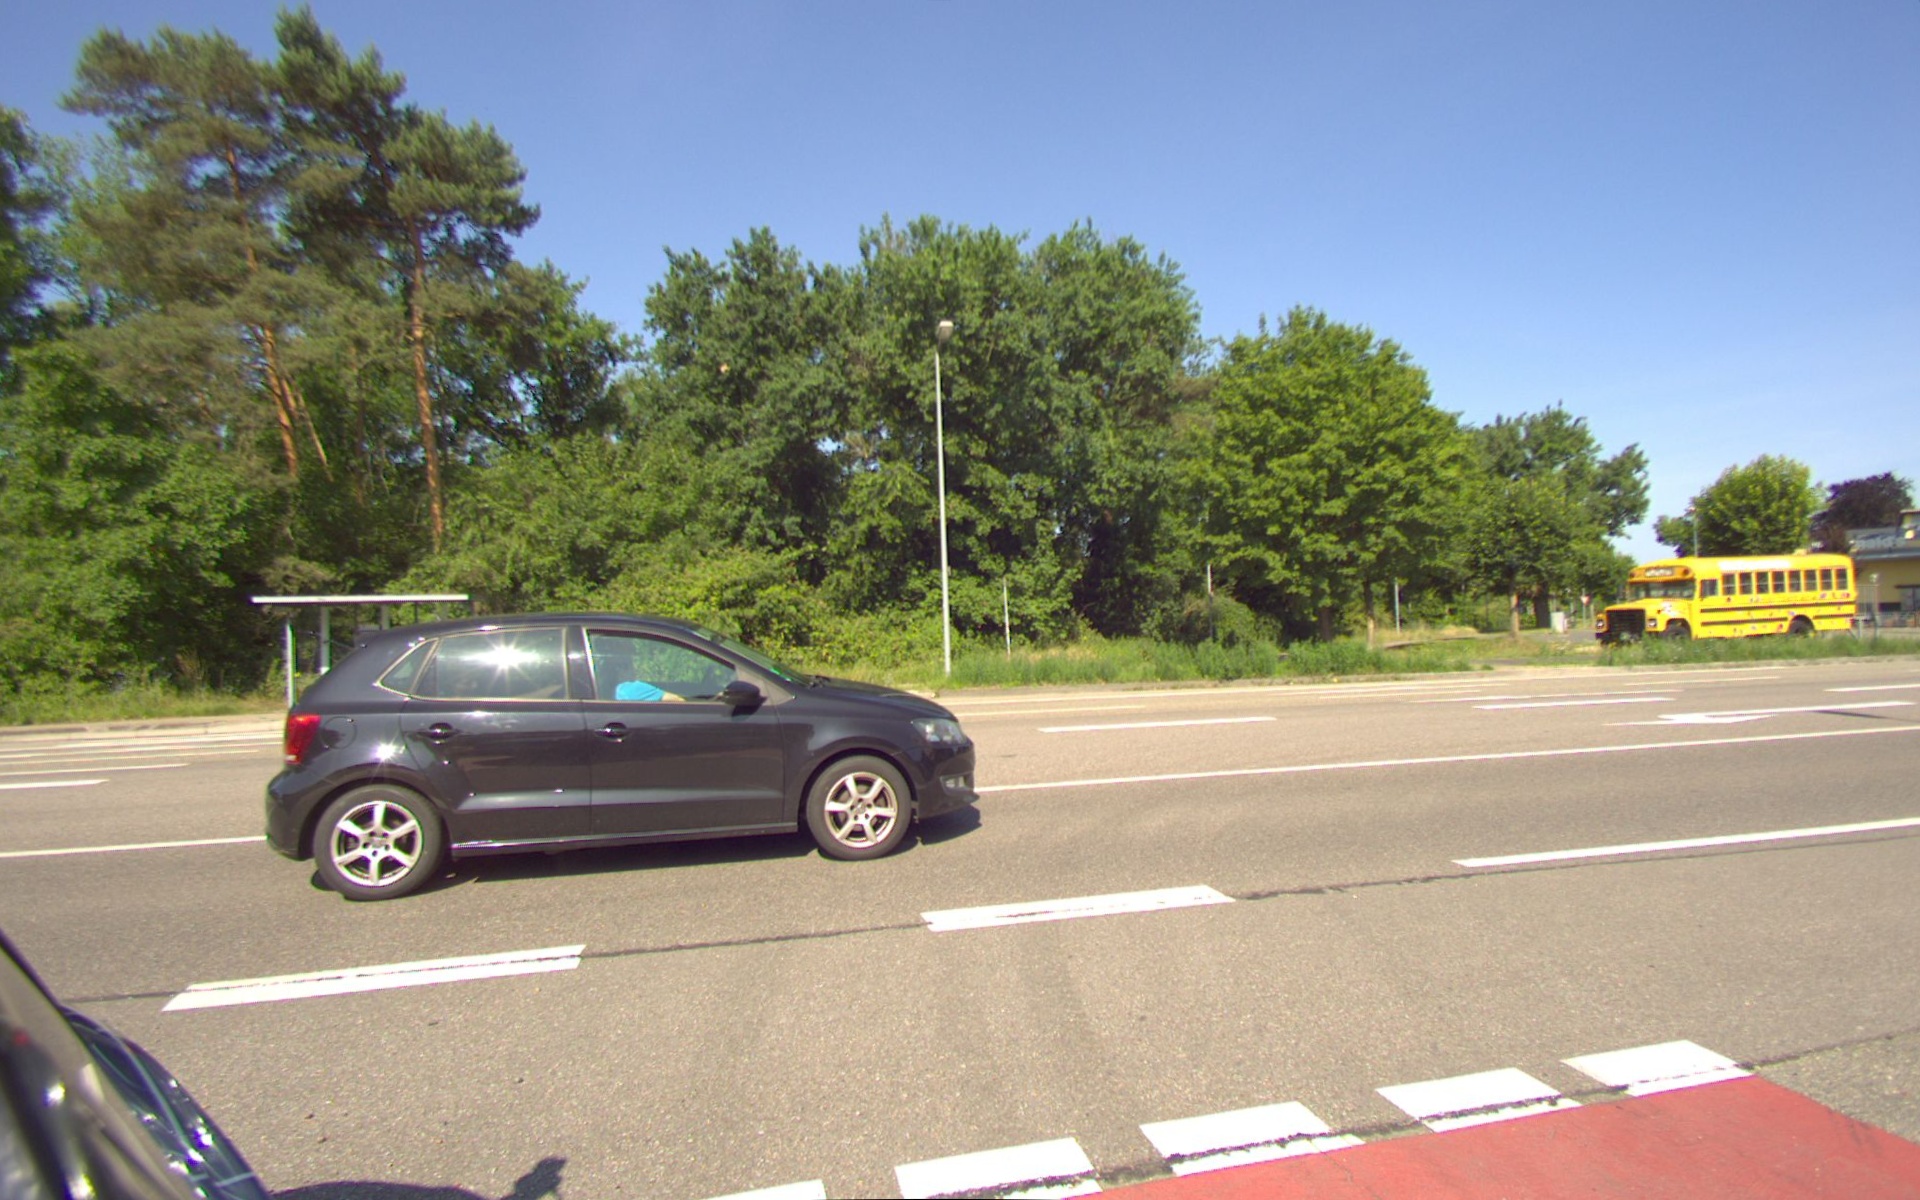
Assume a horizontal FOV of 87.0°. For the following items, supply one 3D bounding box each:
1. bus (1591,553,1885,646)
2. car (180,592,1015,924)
[{"bbox_3d":[24.567,-0.051,31.964,8.844,2.699,2.595,-1,0,-16],"label":"bus"},{"bbox_3d":[-1.850,0.720,5.948,3.987,1.441,1.656,-1,0,-15],"label":"car"}]
